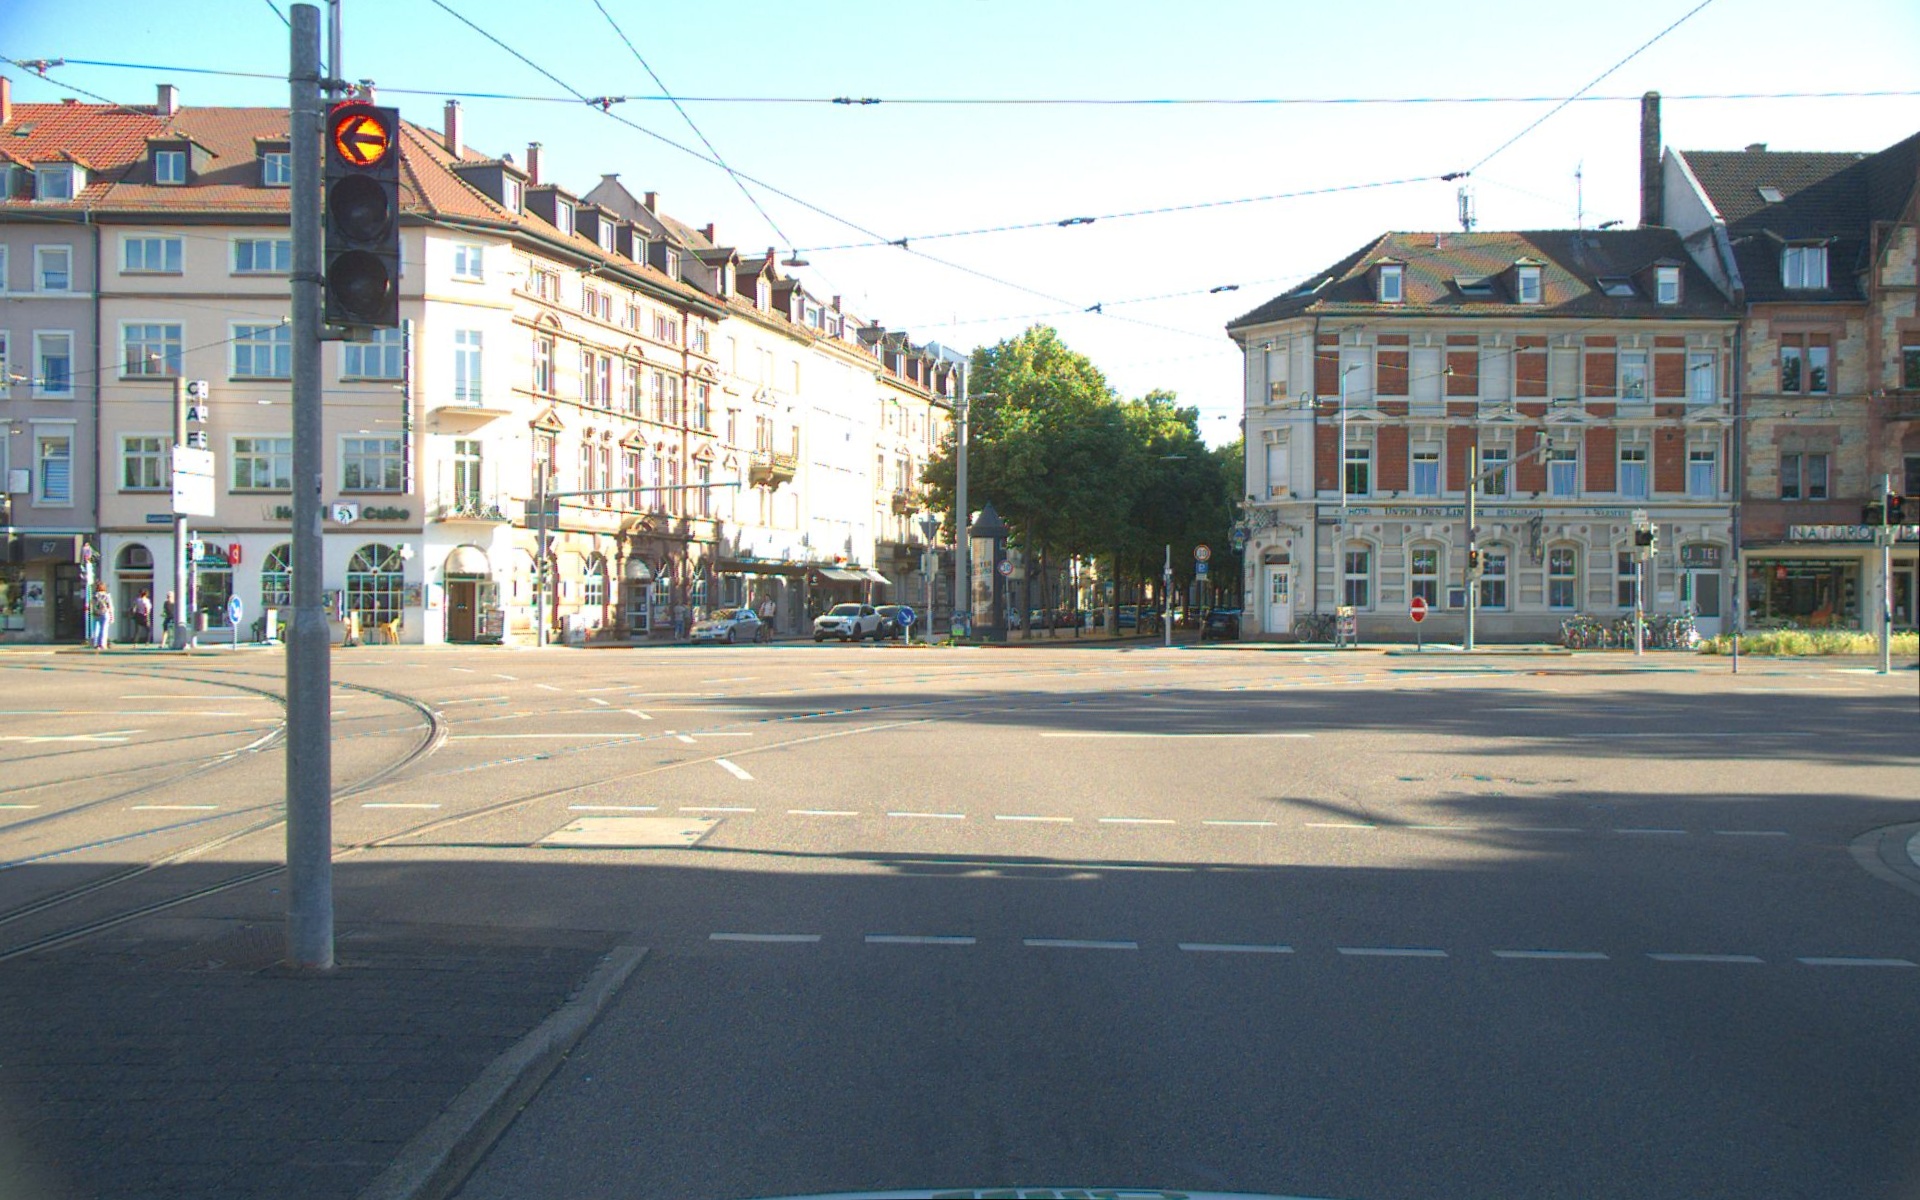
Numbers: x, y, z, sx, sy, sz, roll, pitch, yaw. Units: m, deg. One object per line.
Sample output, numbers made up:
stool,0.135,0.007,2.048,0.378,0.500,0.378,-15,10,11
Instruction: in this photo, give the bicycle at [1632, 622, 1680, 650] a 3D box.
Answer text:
bicycle,22.491,1.153,53.485,0.645,0.855,2.160,1,0,0

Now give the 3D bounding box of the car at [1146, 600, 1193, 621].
car,16.943,0.875,133.750,3.503,1.677,1.684,0,0,16

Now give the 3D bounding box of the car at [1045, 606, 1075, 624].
car,7.894,1.204,130.847,1.642,1.378,3.593,0,0,16

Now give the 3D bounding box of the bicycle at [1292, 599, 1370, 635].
bicycle,12.867,0.585,57.461,2.504,1.194,0.818,1,-1,-4

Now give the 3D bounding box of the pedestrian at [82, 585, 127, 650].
pedestrian,-21.368,0.435,41.320,0.539,1.605,0.832,1,-1,27

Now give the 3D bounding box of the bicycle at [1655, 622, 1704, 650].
bicycle,23.280,1.167,53.530,0.645,0.855,2.160,1,0,0

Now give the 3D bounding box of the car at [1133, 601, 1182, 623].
car,15.321,0.950,128.250,3.503,1.677,1.684,0,0,16

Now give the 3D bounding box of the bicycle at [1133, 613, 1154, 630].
bicycle,11.053,1.288,99.630,0.625,1.039,1.840,1,0,-14

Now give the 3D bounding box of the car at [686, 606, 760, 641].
car,-9.540,0.926,66.749,1.642,1.378,3.593,0,0,16

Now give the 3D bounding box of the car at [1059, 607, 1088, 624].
car,9.319,1.240,135.899,1.642,1.378,3.593,0,0,16

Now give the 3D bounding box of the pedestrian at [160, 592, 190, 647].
pedestrian,-24.695,0.620,52.024,0.570,1.699,0.752,1,-1,-1

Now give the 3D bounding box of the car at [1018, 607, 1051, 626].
car,5.535,1.207,122.505,1.642,1.378,3.593,0,0,16

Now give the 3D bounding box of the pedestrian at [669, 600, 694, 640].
pedestrian,-11.833,0.848,70.222,0.759,1.699,0.831,1,-1,15

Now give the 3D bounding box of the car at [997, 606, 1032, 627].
car,3.823,1.149,115.518,1.642,1.378,3.593,0,0,16

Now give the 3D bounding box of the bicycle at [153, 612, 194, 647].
bicycle,-24.701,0.919,51.990,0.561,1.096,1.497,1,0,-1

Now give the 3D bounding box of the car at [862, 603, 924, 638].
car,-2.947,0.880,73.555,1.642,1.509,3.950,0,0,16

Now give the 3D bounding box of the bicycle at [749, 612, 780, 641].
bicycle,-7.680,1.040,65.130,0.687,1.137,1.636,1,0,13

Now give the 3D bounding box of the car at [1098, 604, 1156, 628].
car,11.716,1.107,115.837,3.819,1.677,1.684,0,0,16

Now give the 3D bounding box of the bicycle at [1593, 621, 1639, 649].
bicycle,21.193,1.131,53.471,0.645,0.855,2.160,1,0,0

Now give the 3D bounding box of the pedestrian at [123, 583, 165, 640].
pedestrian,-23.492,0.333,47.627,0.712,1.605,0.831,1,-1,33

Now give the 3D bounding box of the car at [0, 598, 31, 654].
car,-32.151,0.781,52.261,4.276,1.741,2.306,1,0,1

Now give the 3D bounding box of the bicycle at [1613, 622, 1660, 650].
bicycle,21.864,1.142,53.505,0.645,0.855,2.160,1,0,0

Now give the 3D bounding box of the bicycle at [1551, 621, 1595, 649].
bicycle,19.762,1.106,53.371,0.645,0.855,2.160,1,0,0

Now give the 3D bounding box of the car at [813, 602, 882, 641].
car,-4.535,0.837,67.230,1.642,1.509,3.774,0,0,16

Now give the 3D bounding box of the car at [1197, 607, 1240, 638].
car,12.959,1.100,82.752,1.642,1.509,3.950,0,0,16

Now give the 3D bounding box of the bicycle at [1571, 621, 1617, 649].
bicycle,20.481,1.118,53.458,0.645,0.855,2.160,1,0,0

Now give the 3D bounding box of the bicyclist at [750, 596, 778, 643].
bicyclist,-7.714,0.759,65.008,0.761,1.834,1.056,1,-1,13
